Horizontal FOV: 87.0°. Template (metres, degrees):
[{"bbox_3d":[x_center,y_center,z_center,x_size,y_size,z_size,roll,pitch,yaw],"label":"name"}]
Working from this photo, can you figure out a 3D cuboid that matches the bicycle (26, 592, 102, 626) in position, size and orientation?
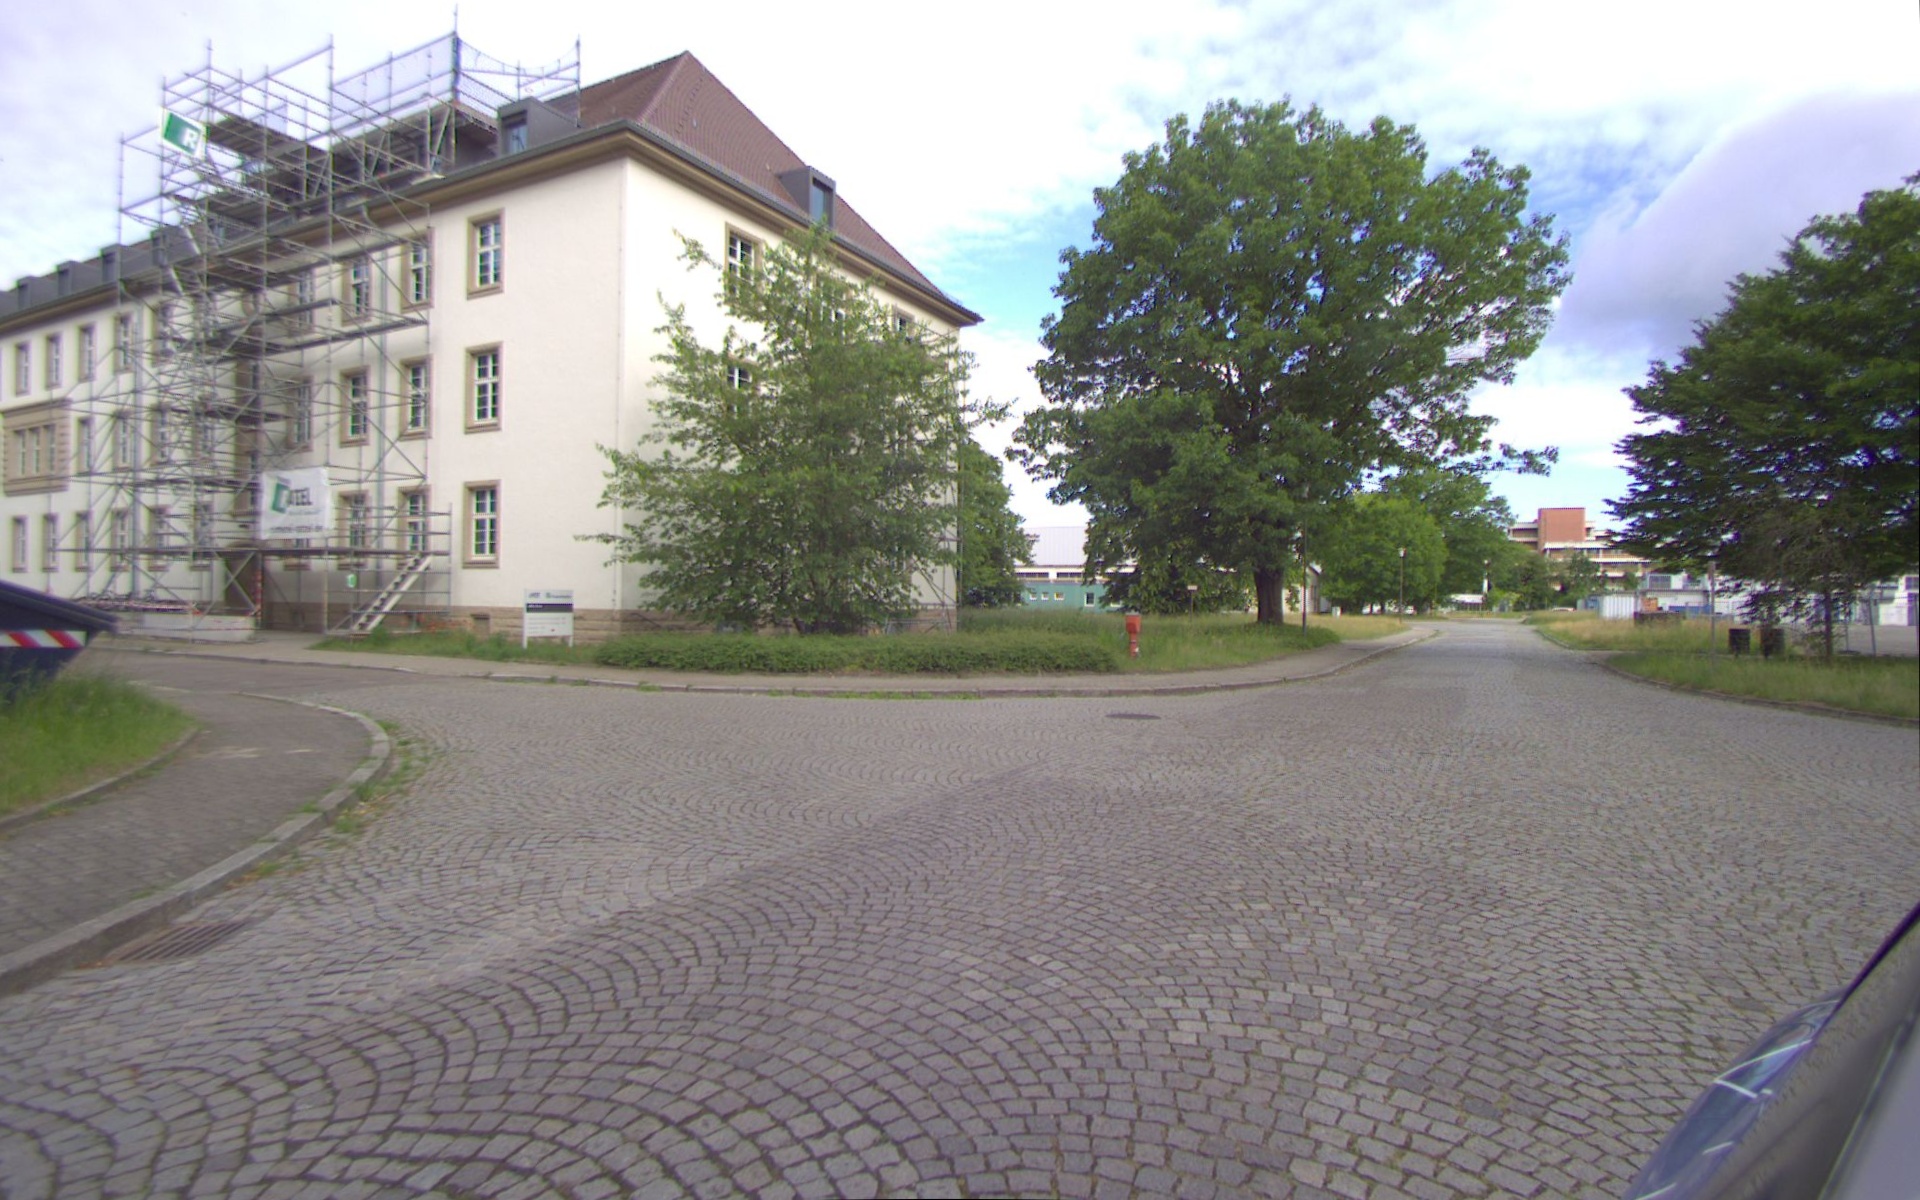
[{"bbox_3d":[-29.987,0.293,33.894,0.508,1.109,1.838,0,0,35],"label":"bicycle"}]

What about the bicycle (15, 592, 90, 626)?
[{"bbox_3d":[-30.806,0.292,34.391,0.508,1.109,1.838,0,0,35],"label":"bicycle"}]

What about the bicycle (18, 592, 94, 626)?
[{"bbox_3d":[-30.447,0.291,34.119,0.508,1.109,1.838,0,0,35],"label":"bicycle"}]

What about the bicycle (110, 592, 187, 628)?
[{"bbox_3d":[-25.781,0.302,32.165,0.508,1.109,1.838,0,0,35],"label":"bicycle"}]

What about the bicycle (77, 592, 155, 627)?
[{"bbox_3d":[-27.098,0.300,32.522,0.508,1.109,1.838,0,0,35],"label":"bicycle"}]

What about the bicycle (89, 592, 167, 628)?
[{"bbox_3d":[-26.404,0.298,32.151,0.508,1.109,1.838,0,0,35],"label":"bicycle"}]

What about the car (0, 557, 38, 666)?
[{"bbox_3d":[-19.674,0.210,17.481,1.950,2.022,5.224,0,0,28],"label":"car"}]

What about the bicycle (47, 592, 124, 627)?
[{"bbox_3d":[-28.720,0.294,33.261,0.508,1.109,1.838,0,0,35],"label":"bicycle"}]

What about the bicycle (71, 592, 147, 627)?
[{"bbox_3d":[-27.738,0.298,33.006,0.508,1.109,1.838,0,0,35],"label":"bicycle"}]
